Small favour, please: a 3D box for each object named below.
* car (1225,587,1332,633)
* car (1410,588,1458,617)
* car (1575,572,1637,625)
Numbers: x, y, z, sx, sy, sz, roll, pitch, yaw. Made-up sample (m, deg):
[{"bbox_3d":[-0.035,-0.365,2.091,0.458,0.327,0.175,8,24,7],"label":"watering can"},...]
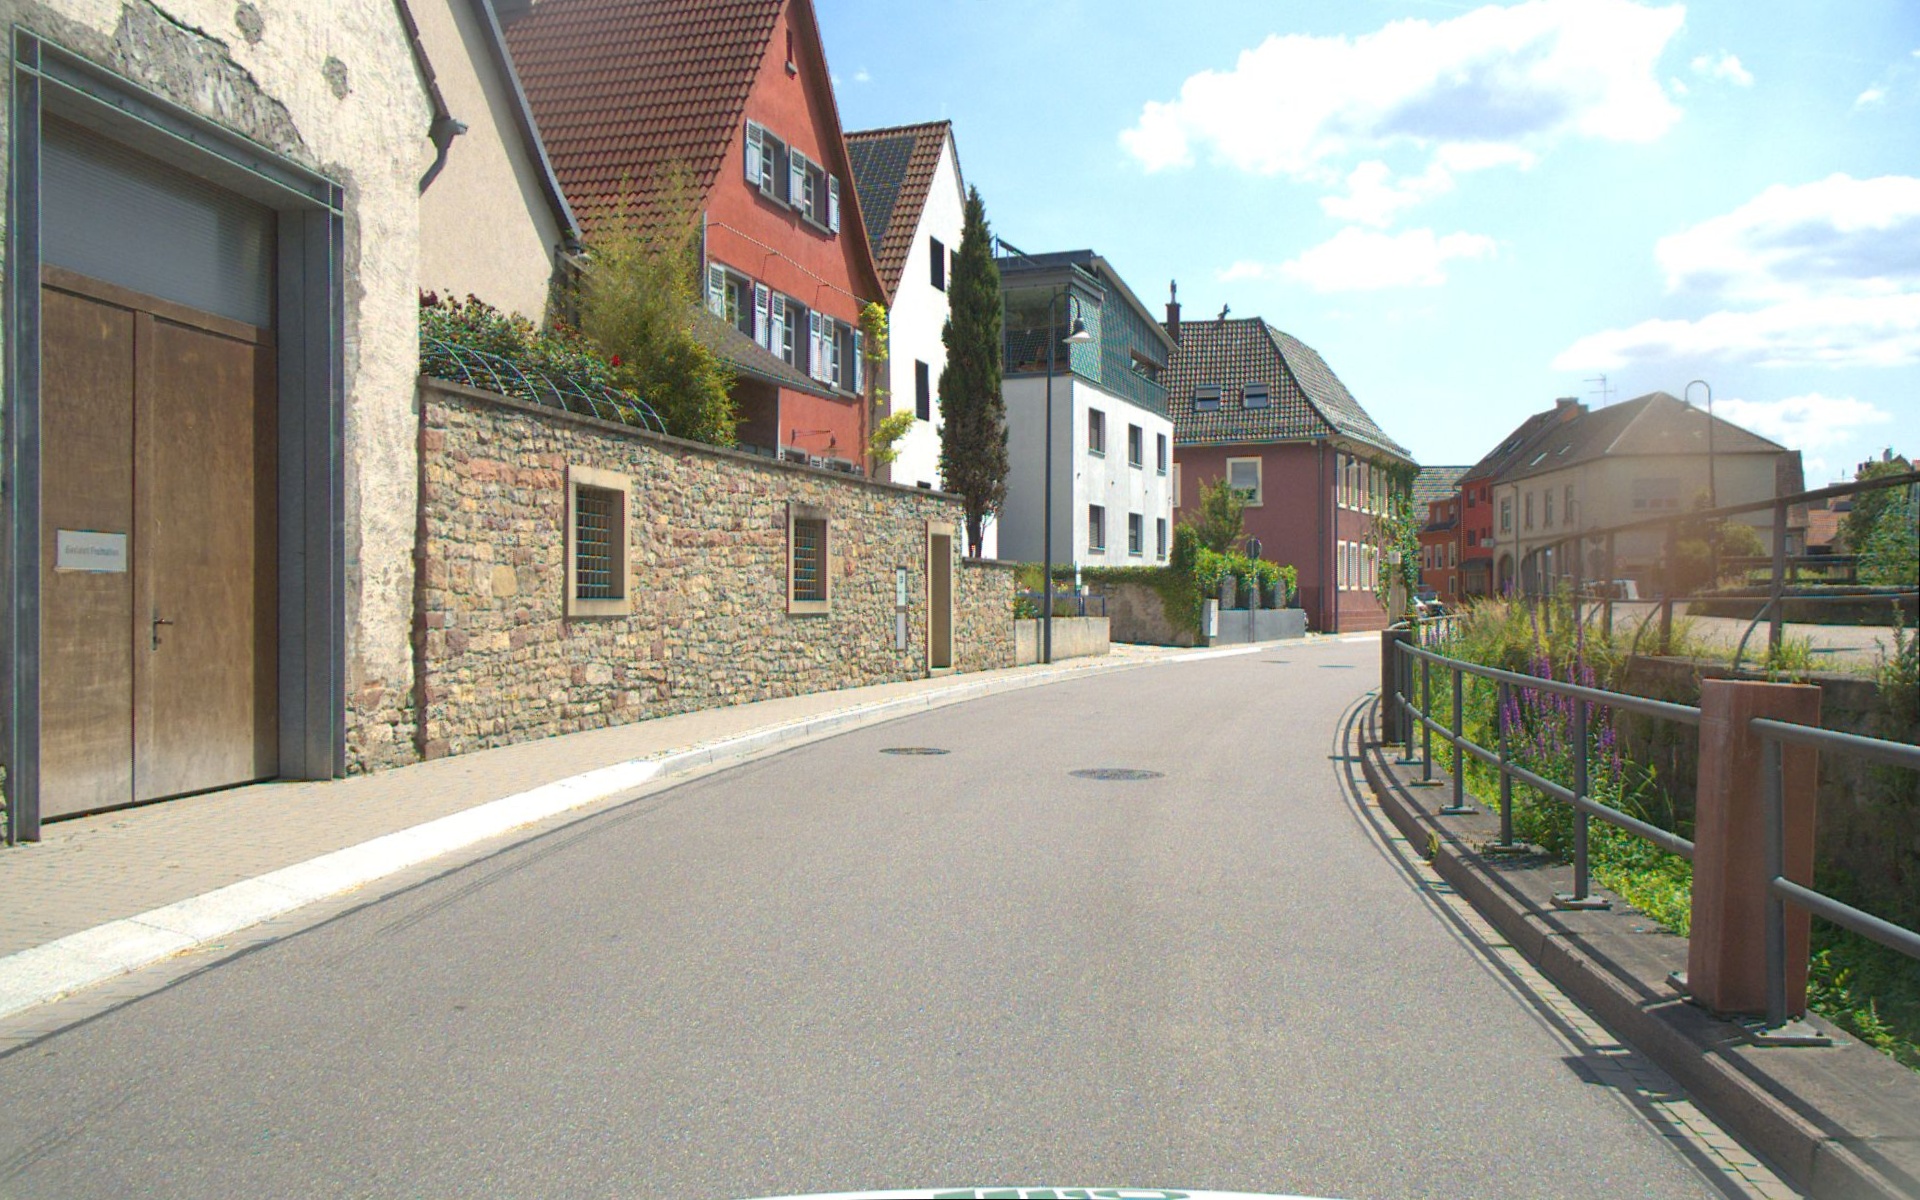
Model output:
[{"bbox_3d":[11.660,0.359,60.597,3.496,1.430,1.650,4,2,26],"label":"car"},{"bbox_3d":[30.405,0.155,106.190,1.592,1.749,3.465,-2,-1,-9],"label":"car"},{"bbox_3d":[25.950,-0.068,66.424,1.862,2.015,3.109,-3,-1,29],"label":"car"}]
